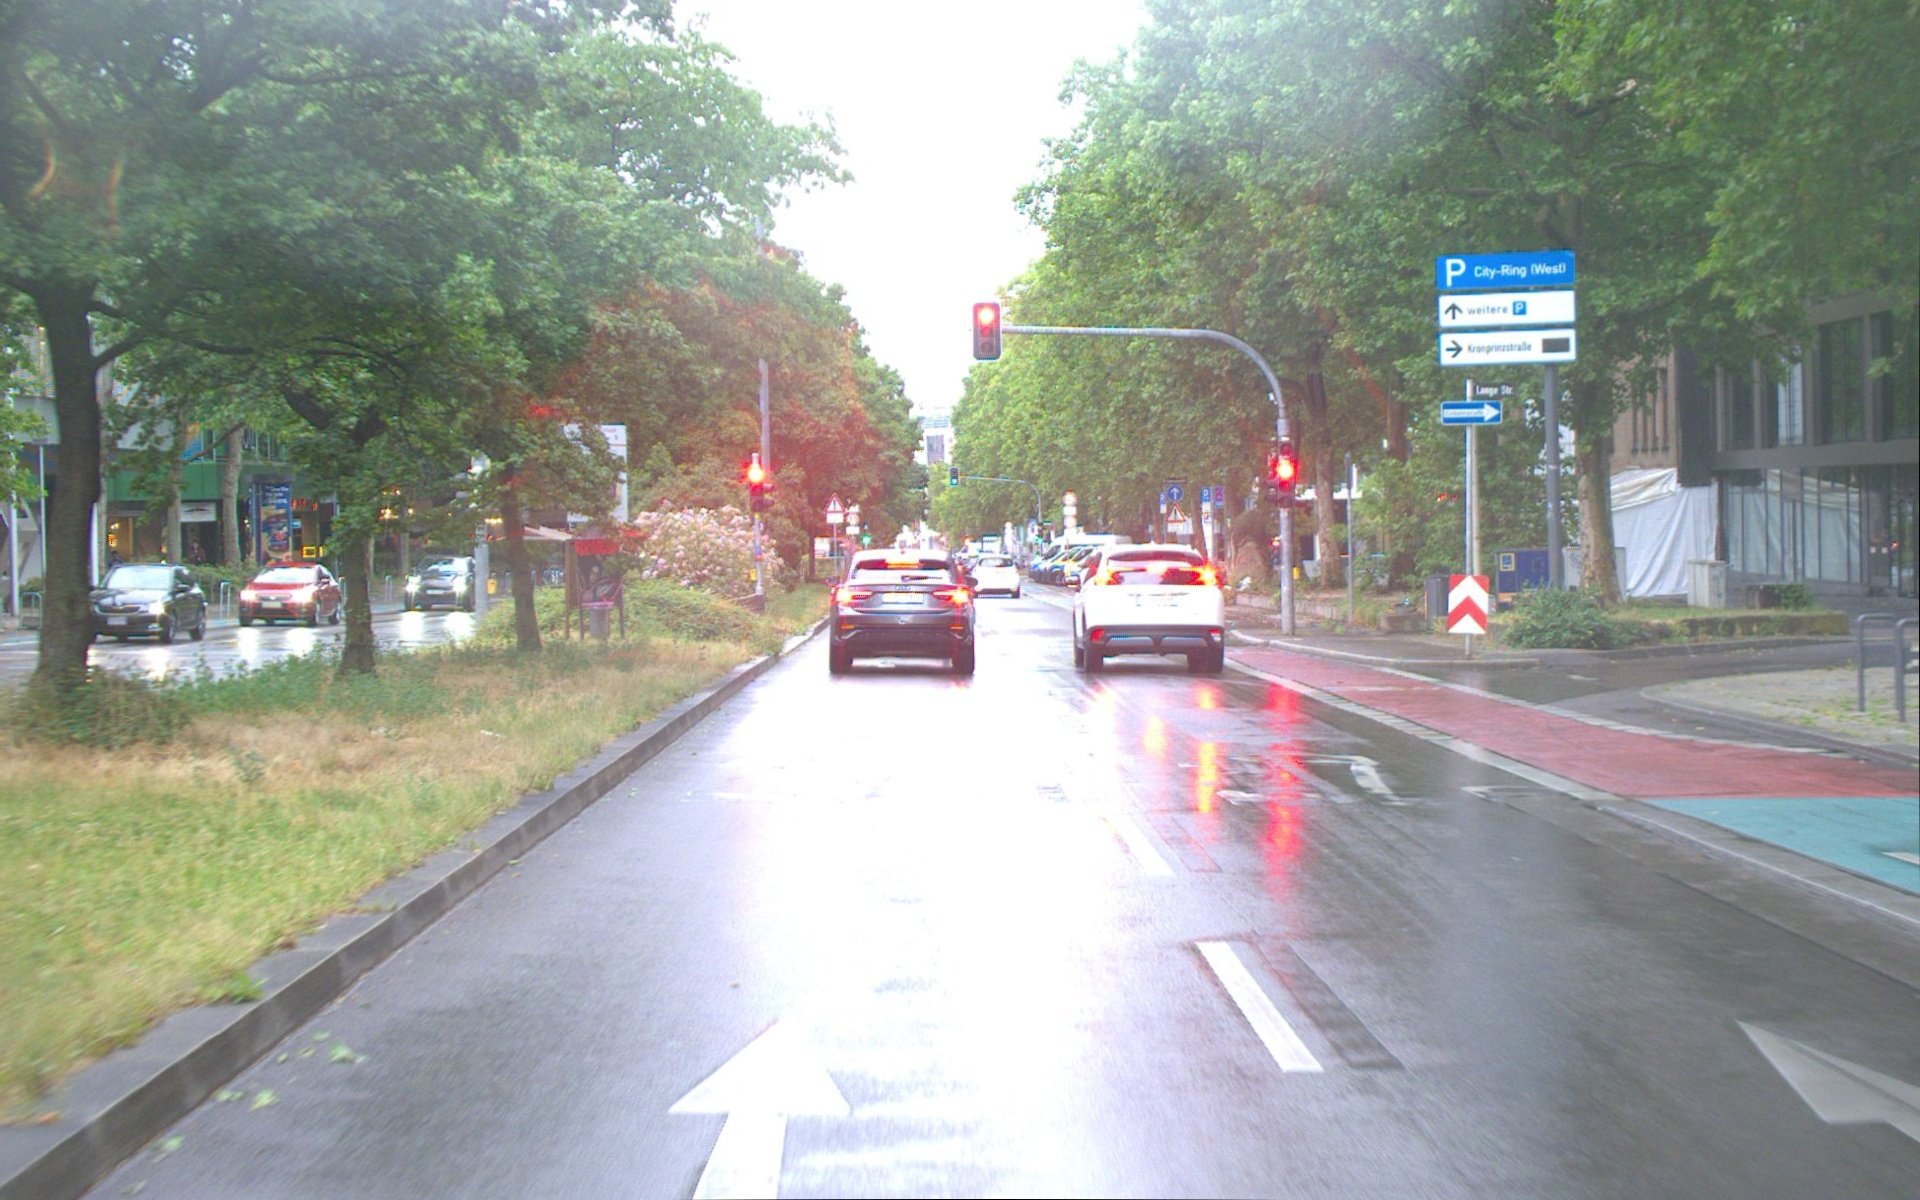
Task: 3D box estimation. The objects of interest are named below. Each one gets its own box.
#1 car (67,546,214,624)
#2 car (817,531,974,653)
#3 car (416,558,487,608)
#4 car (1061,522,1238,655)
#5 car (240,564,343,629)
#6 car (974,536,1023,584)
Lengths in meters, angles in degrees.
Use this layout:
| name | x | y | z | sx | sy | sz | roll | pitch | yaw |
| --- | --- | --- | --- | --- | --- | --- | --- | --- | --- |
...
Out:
| name | x | y | z | sx | sy | sz | roll | pitch | yaw |
| --- | --- | --- | --- | --- | --- | --- | --- | --- | --- |
| car | -15.240 | -0.300 | 64.102 | 1.843 | 1.384 | 4.000 | 0 | 1 | -1 |
| car | -0.828 | -0.142 | 44.307 | 1.918 | 1.486 | 4.000 | 0 | 1 | -1 |
| car | -14.944 | -0.497 | 101.171 | 1.614 | 1.389 | 3.597 | 1 | -1 | -1 |
| car | 2.454 | -0.203 | 45.723 | 1.993 | 1.649 | 4.889 | 0 | 2 | -1 |
| car | -15.359 | -0.100 | 79.172 | 1.614 | 1.389 | 4.185 | 0 | 2 | -1 |
| car | 1.352 | -1.448 | 123.423 | 1.620 | 1.660 | 4.000 | -1 | 1 | -1 |
